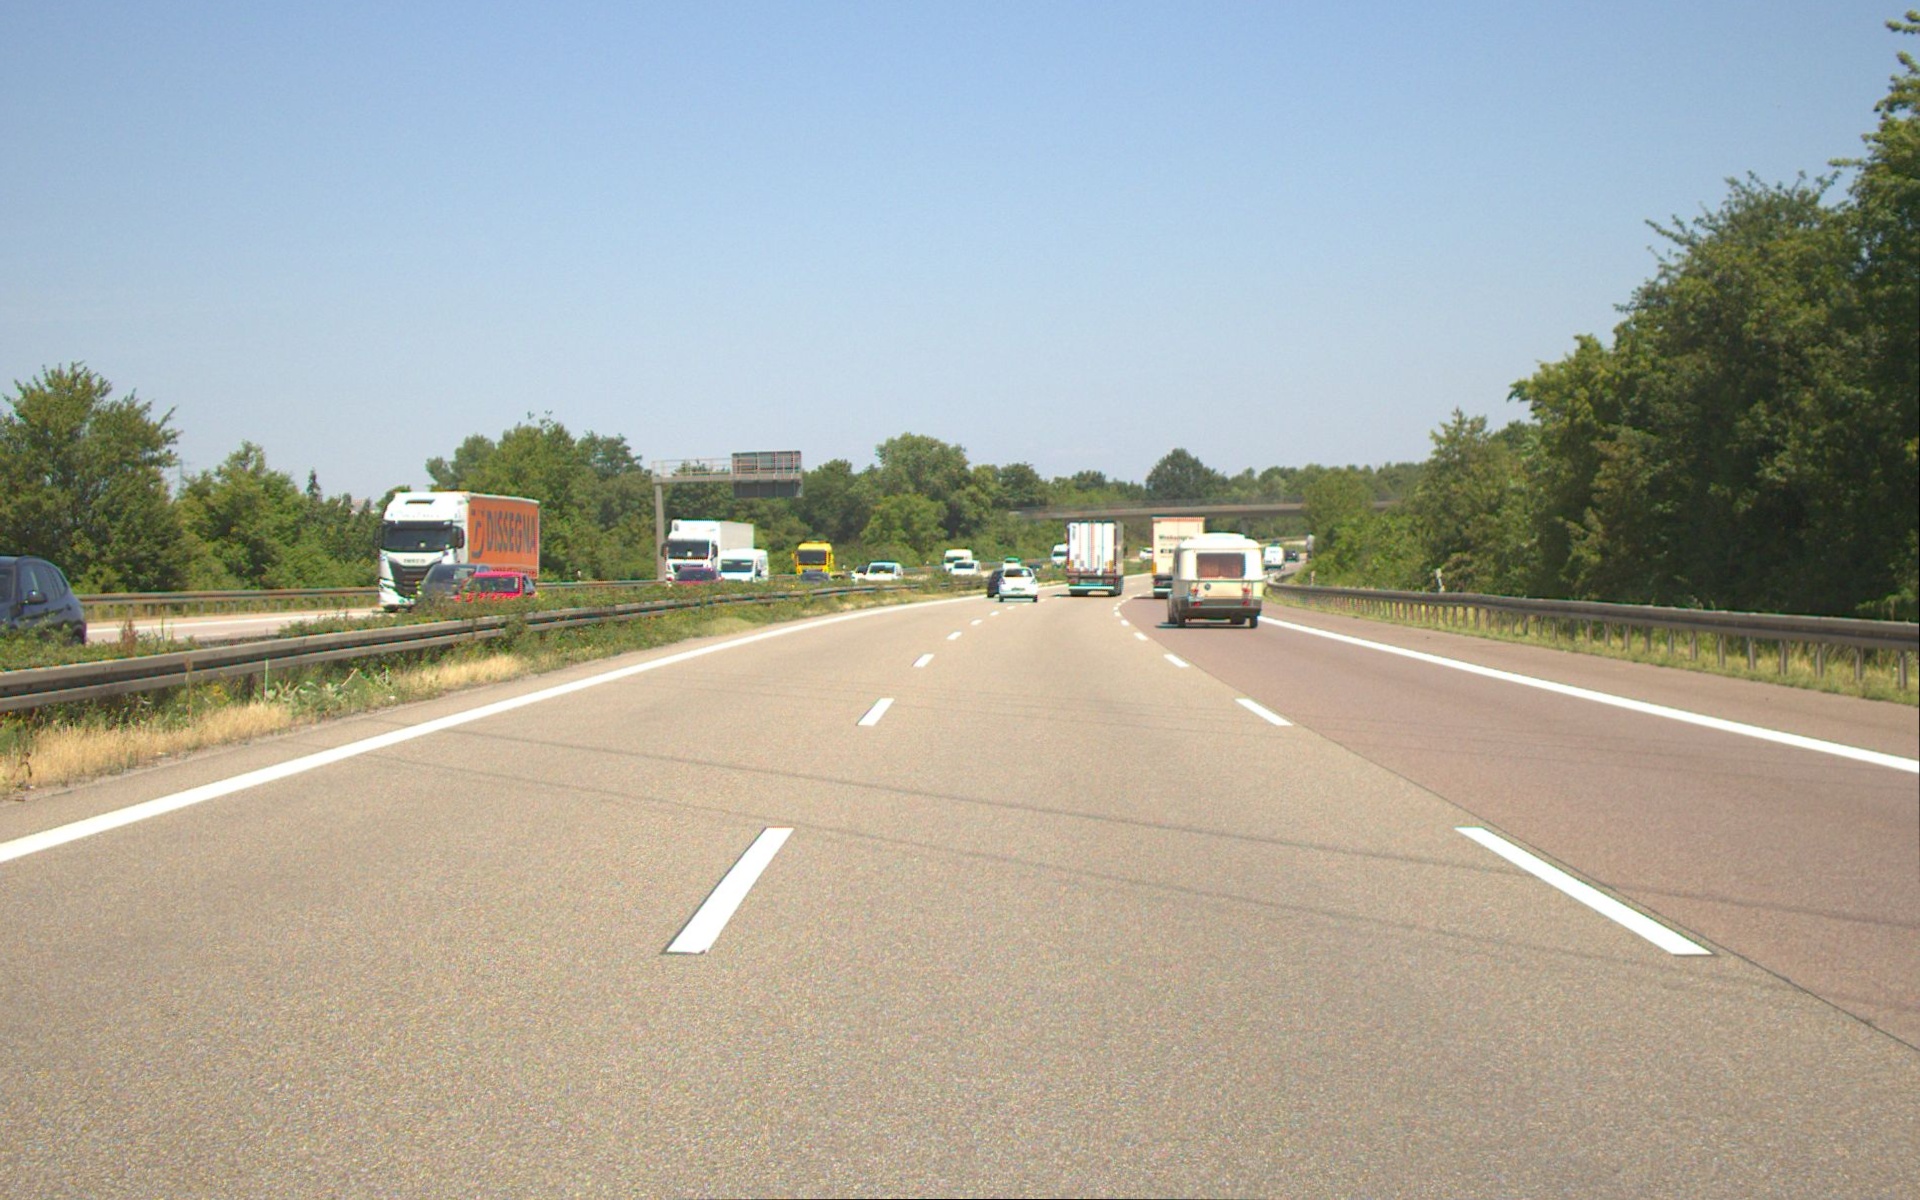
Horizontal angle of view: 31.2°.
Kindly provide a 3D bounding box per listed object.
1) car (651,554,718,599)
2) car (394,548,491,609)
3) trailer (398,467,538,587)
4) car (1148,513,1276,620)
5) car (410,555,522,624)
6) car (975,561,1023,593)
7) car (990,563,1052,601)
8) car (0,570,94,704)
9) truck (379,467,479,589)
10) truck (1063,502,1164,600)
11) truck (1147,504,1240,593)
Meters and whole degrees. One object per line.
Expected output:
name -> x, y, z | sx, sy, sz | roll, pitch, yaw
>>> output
car -> -9.654, -0.828, 120.825 | 1.993, 1.543, 4.448 | 0, 1, 0
car -> -14.558, -0.638, 96.959 | 1.993, 1.667, 4.930 | 0, 1, 0
trailer -> -17.408, -2.662, 122.590 | 2.507, 4.029, 13.586 | 0, 2, 2
car -> 5.863, -0.825, 80.618 | 2.442, 2.313, 5.322 | -1, 2, -1
car -> -10.945, -0.249, 76.354 | 1.904, 1.475, 3.961 | 0, 1, 0
car -> 1.971, -1.170, 173.537 | 1.828, 1.542, 4.318 | 1, 1, 9
car -> 2.688, -0.803, 150.357 | 1.829, 1.542, 4.316 | 1, 1, 13
car -> -11.926, 0.406, 41.179 | 1.993, 1.430, 4.412 | 0, 2, 0
truck -> -17.743, -2.427, 115.072 | 2.482, 4.005, 4.602 | 0, 2, 2
truck -> 8.462, -2.783, 186.657 | 3.668, 5.001, 16.012 | 1, 2, 9
truck -> 12.094, -2.763, 176.358 | 3.182, 4.289, 16.012 | 1, 2, 10
